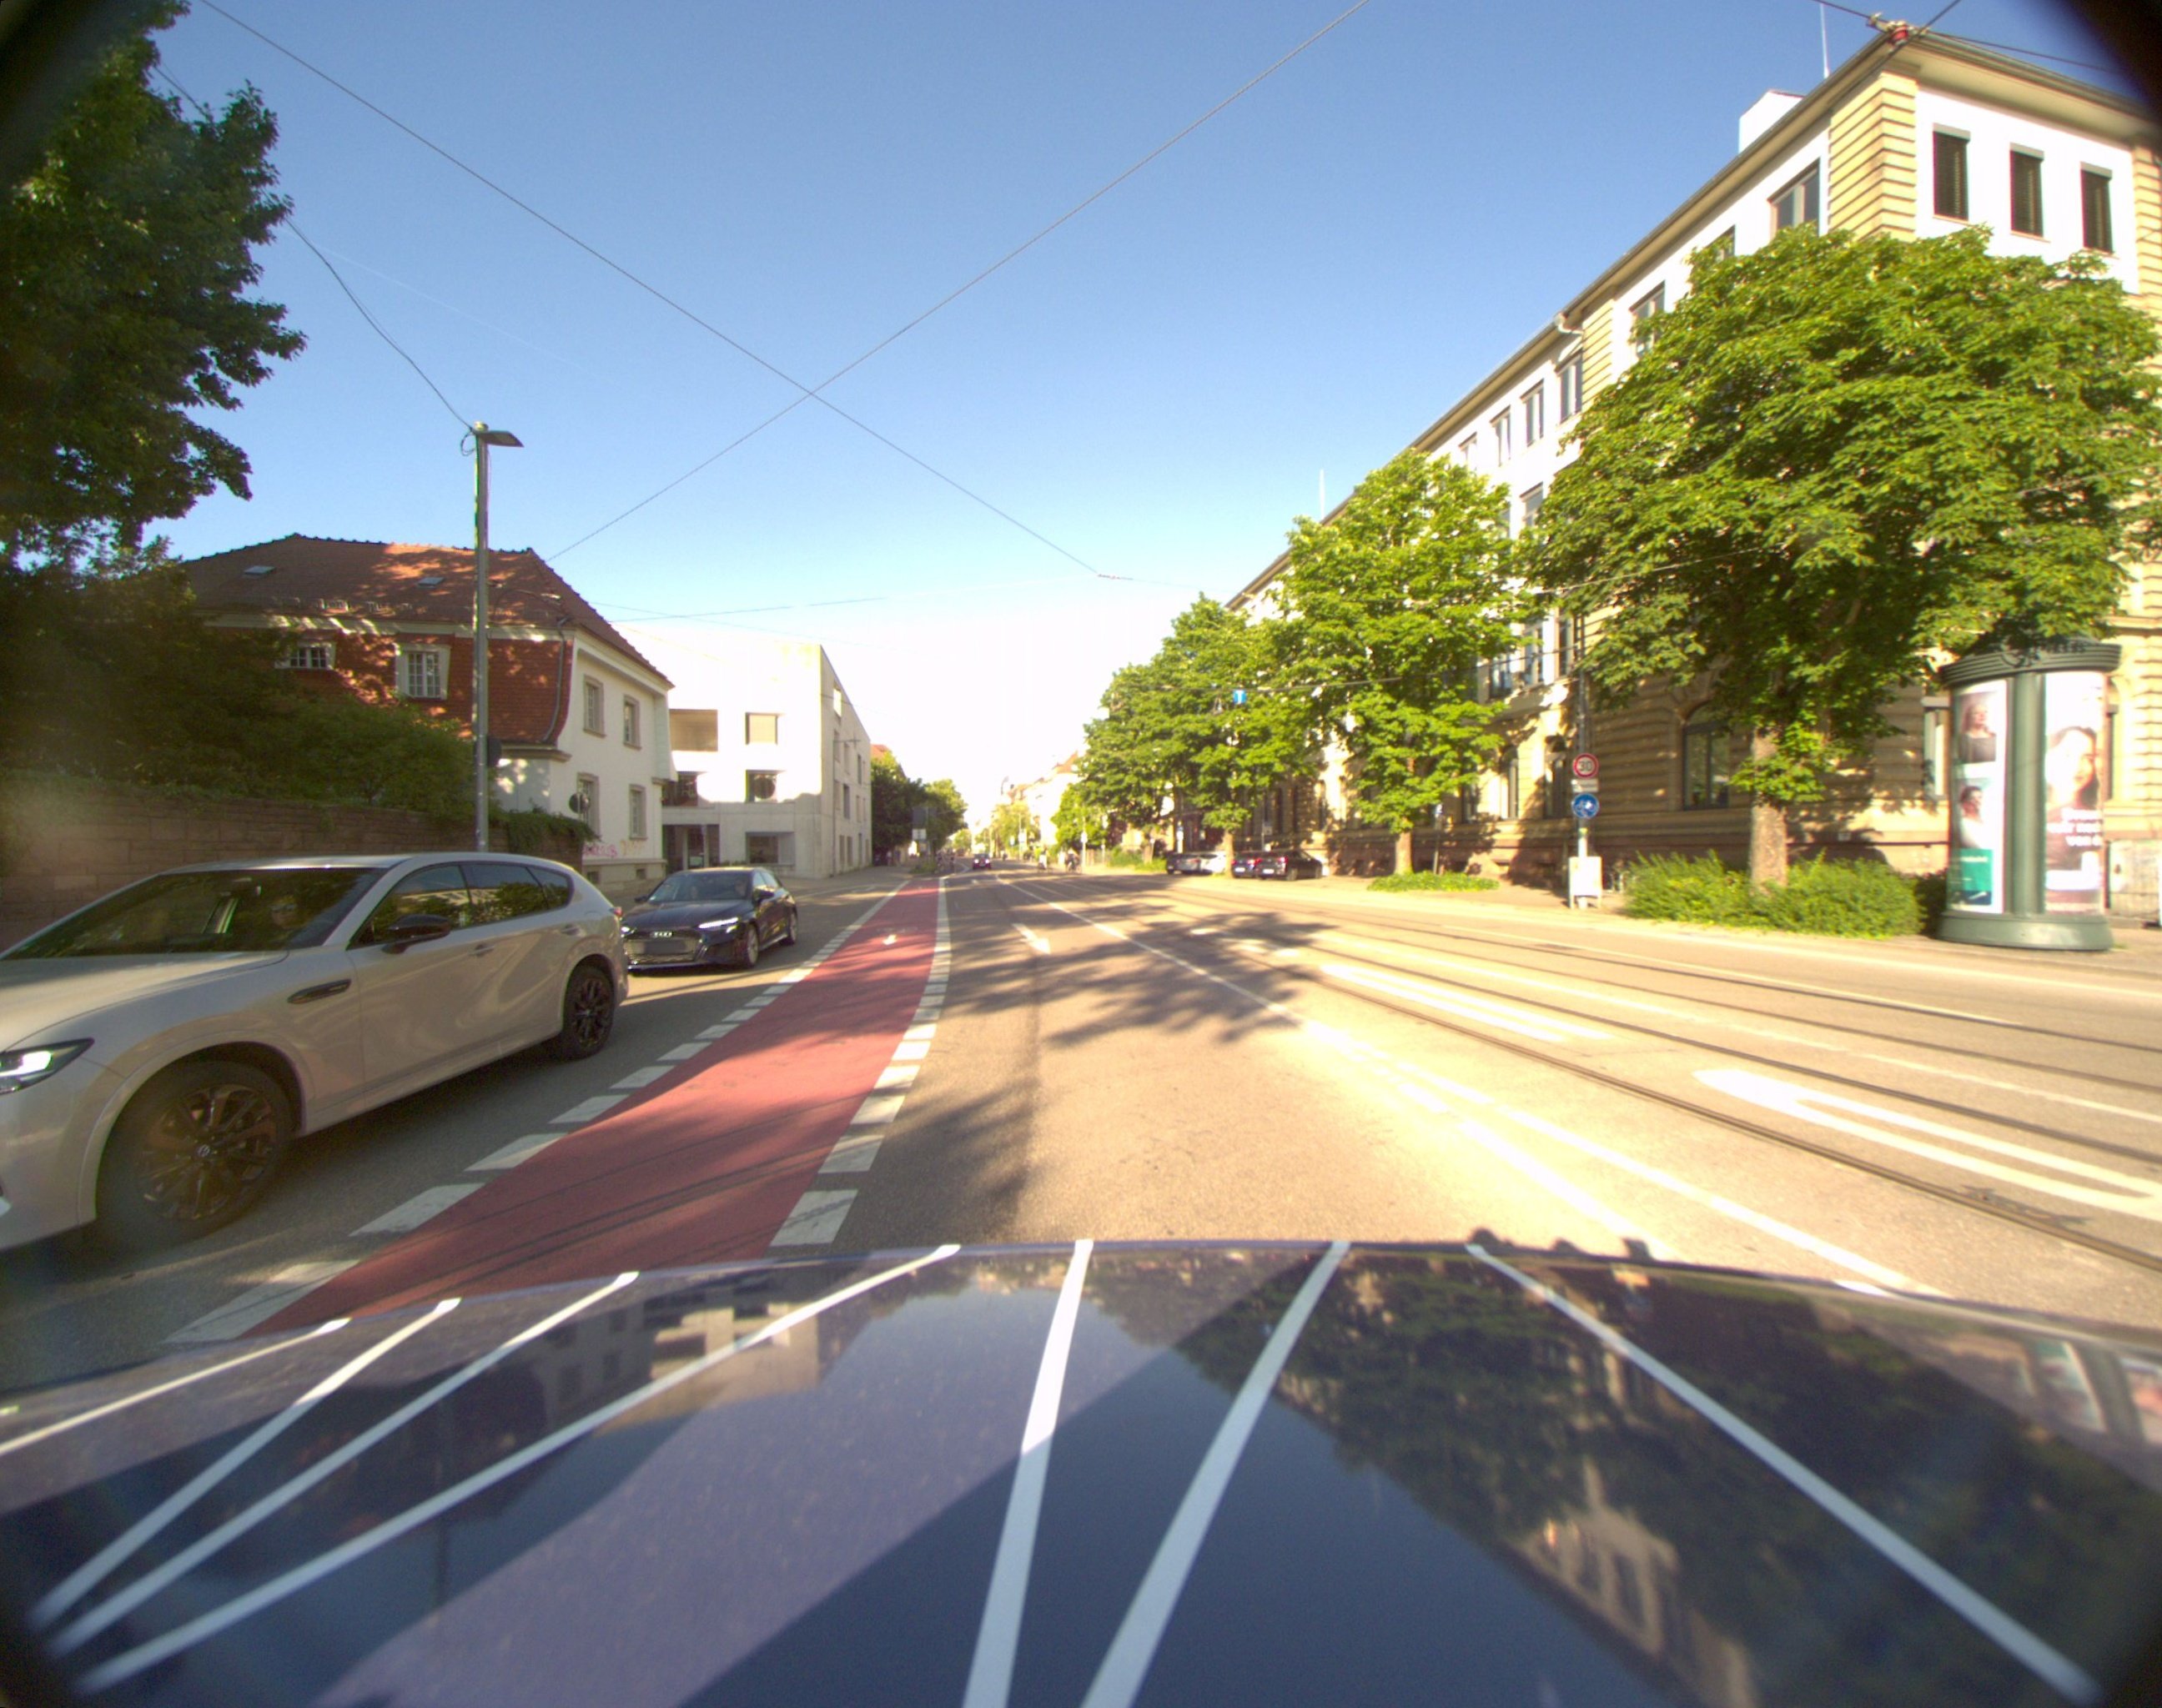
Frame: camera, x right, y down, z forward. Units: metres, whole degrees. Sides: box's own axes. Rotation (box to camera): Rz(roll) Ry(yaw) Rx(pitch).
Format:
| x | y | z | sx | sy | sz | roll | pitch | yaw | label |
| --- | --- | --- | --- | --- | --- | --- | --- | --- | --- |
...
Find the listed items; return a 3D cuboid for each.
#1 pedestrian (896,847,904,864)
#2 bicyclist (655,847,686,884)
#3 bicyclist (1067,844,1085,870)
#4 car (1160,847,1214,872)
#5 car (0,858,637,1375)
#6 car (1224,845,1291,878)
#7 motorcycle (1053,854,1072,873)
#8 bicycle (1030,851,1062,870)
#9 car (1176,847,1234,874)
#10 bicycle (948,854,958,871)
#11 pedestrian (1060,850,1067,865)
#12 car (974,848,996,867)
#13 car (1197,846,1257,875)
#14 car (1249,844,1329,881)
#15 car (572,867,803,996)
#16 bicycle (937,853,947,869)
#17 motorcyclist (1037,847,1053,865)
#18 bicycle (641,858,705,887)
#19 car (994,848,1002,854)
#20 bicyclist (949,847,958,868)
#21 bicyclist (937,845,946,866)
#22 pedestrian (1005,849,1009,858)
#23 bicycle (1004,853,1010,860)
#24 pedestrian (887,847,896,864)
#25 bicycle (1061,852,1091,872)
| x | y | z | sx | sy | sz | roll | pitch | yaw | label |
| --- | --- | --- | --- | --- | --- | --- | --- | --- | --- |
| -17.681 | 0.140 | 74.391 | 0.676 | 1.638 | 0.817 | -1 | 1 | -9 | pedestrian |
| -18.404 | 0.508 | 34.102 | 0.674 | 1.638 | 1.031 | 1 | 1 | 40 | bicyclist |
| -0.304 | 0.177 | 48.450 | 0.674 | 1.638 | 1.031 | 0 | 1 | 33 | bicyclist |
| 7.235 | 0.355 | 51.769 | 3.657 | 1.552 | 1.645 | -3 | 1 | -43 | car |
| -4.807 | 0.935 | 4.472 | 1.946 | 1.682 | 4.529 | -2 | 1 | -5 | car |
| 9.418 | 0.385 | 40.412 | 3.657 | 1.552 | 1.645 | -3 | 1 | -43 | car |
| -1.315 | 0.687 | 54.753 | 0.680 | 1.285 | 2.268 | -2 | 1 | 16 | motorcycle |
| -2.369 | 0.447 | 51.756 | 0.674 | 1.243 | 2.462 | 1 | 1 | 41 | bicycle |
| 7.910 | 0.383 | 48.359 | 3.657 | 1.552 | 1.645 | -3 | 1 | -43 | car |
| -9.853 | 0.639 | 58.682 | 0.676 | 1.243 | 2.454 | 0 | 1 | -8 | bicycle |
| -1.904 | 0.405 | 82.998 | 0.676 | 1.638 | 0.817 | -1 | 1 | -9 | pedestrian |
| -8.531 | 0.282 | 67.738 | 1.649 | 1.552 | 3.648 | -2 | 1 | -5 | car |
| 8.889 | 0.383 | 46.128 | 3.657 | 1.552 | 1.645 | -3 | 1 | -43 | car |
| 10.382 | 0.402 | 37.752 | 4.189 | 1.621 | 1.841 | -3 | 1 | -43 | car |
| -5.621 | 0.995 | 11.479 | 1.789 | 1.425 | 3.997 | -2 | 1 | -8 | car |
| -10.911 | 0.550 | 59.599 | 0.676 | 1.243 | 2.454 | 0 | 1 | -8 | bicycle |
| -2.439 | 0.138 | 51.662 | 0.674 | 1.243 | 0.855 | 1 | 1 | 40 | motorcyclist |
| -18.332 | 0.817 | 34.193 | 0.674 | 1.243 | 2.462 | 1 | 1 | 41 | bicycle |
| -21.538 | -0.749 | 197.373 | 1.650 | 1.552 | 3.646 | -2 | 1 | -12 | car |
| -9.859 | 0.249 | 58.697 | 0.676 | 1.638 | 1.028 | 0 | 1 | -8 | bicyclist |
| -10.898 | 0.134 | 59.475 | 0.676 | 1.638 | 1.028 | 0 | 1 | -8 | bicyclist |
| -12.963 | -0.058 | 132.686 | 0.675 | 1.638 | 0.817 | -1 | 1 | 0 | pedestrian |
| -12.949 | 0.380 | 132.722 | 0.676 | 1.243 | 2.456 | -1 | 1 | 0 | bicycle |
| -18.547 | 0.127 | 74.333 | 0.676 | 1.638 | 0.817 | -1 | 1 | -9 | pedestrian |
| -0.313 | 0.506 | 48.439 | 0.674 | 1.243 | 2.462 | 0 | 1 | 33 | bicycle |
